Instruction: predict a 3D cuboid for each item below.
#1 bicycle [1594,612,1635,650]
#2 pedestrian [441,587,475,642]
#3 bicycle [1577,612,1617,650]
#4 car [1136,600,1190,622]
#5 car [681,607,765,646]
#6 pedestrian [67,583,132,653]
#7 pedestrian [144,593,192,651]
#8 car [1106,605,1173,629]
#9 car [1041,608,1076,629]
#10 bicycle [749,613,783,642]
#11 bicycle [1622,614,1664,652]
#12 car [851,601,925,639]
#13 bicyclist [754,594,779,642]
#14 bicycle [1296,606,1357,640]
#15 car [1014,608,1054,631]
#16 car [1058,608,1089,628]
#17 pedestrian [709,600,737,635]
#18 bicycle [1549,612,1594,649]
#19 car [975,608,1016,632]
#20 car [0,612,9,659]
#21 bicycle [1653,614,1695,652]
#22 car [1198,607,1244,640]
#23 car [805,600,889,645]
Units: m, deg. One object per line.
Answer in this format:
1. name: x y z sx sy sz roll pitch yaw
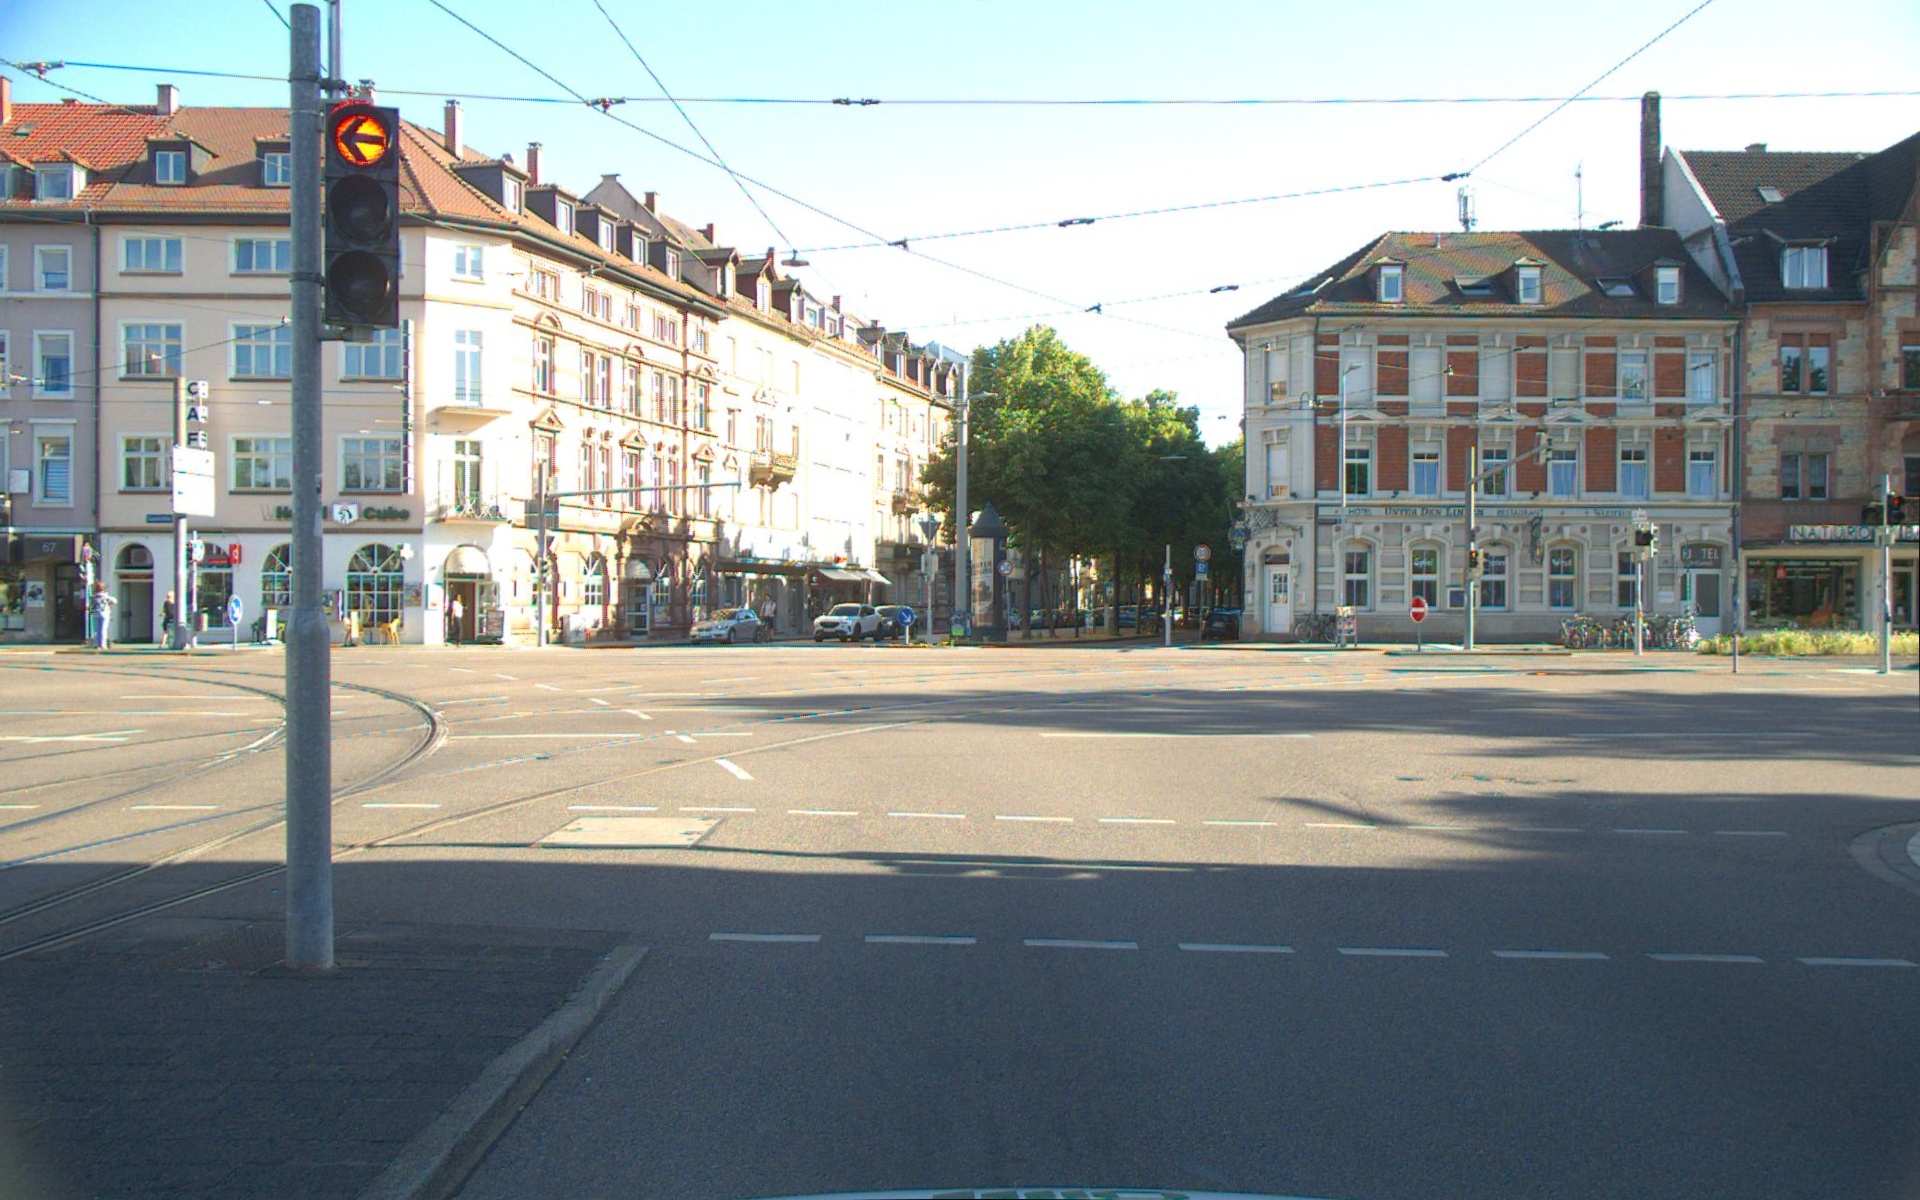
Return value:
1. bicycle: 21.162 0.991 53.504 0.605 1.163 2.175 0 0 4
2. pedestrian: -16.417 0.466 54.120 1.029 1.774 0.805 0 0 -15
3. bicycle: 20.590 0.996 53.534 0.605 1.163 2.175 0 0 4
4. car: 16.412 0.881 133.867 3.912 1.736 1.996 0 0 30
5. car: -9.529 1.032 66.893 1.858 1.481 4.002 0 0 17
6. pedestrian: -21.570 0.446 41.486 1.058 1.714 1.103 0 0 -1
7. pedestrian: -24.895 0.681 51.999 0.985 1.806 0.942 0 0 14
8. car: 12.550 1.195 115.557 4.290 1.640 1.998 0 0 26
9. car: 7.774 1.418 130.556 1.798 1.579 4.393 0 0 16
10. bicycle: -7.599 1.078 64.883 0.665 1.085 2.127 0 0 12
11. bicycle: 22.070 1.053 53.444 0.605 1.163 2.175 0 0 4
12. car: -3.152 0.859 73.781 1.951 1.640 4.393 0 0 17
13. bicyclist: -7.588 0.691 64.925 0.664 1.852 1.071 0 0 12
14. bicycle: 12.748 0.816 57.577 2.045 1.144 0.366 1 -1 -5
15. car: 5.521 1.421 122.732 1.951 1.640 4.393 0 0 17
16. car: 9.386 1.457 136.457 1.727 1.576 4.394 0 0 16
17. pedestrian: -10.806 0.794 75.457 0.908 1.562 1.138 0 0 13
18. bicycle: 19.819 0.986 53.652 0.789 1.163 2.175 0 0 4
19. car: 2.407 1.321 110.984 1.951 1.512 4.003 0 0 13
20. car: -32.401 1.140 51.938 3.907 1.478 1.999 0 0 -3
21. bicycle: 23.034 1.056 53.392 0.596 1.156 2.136 0 0 4
22. car: 13.066 1.157 82.628 1.951 1.613 4.003 0 0 13
23. car: -4.546 0.881 67.246 1.951 1.713 4.393 0 0 17
